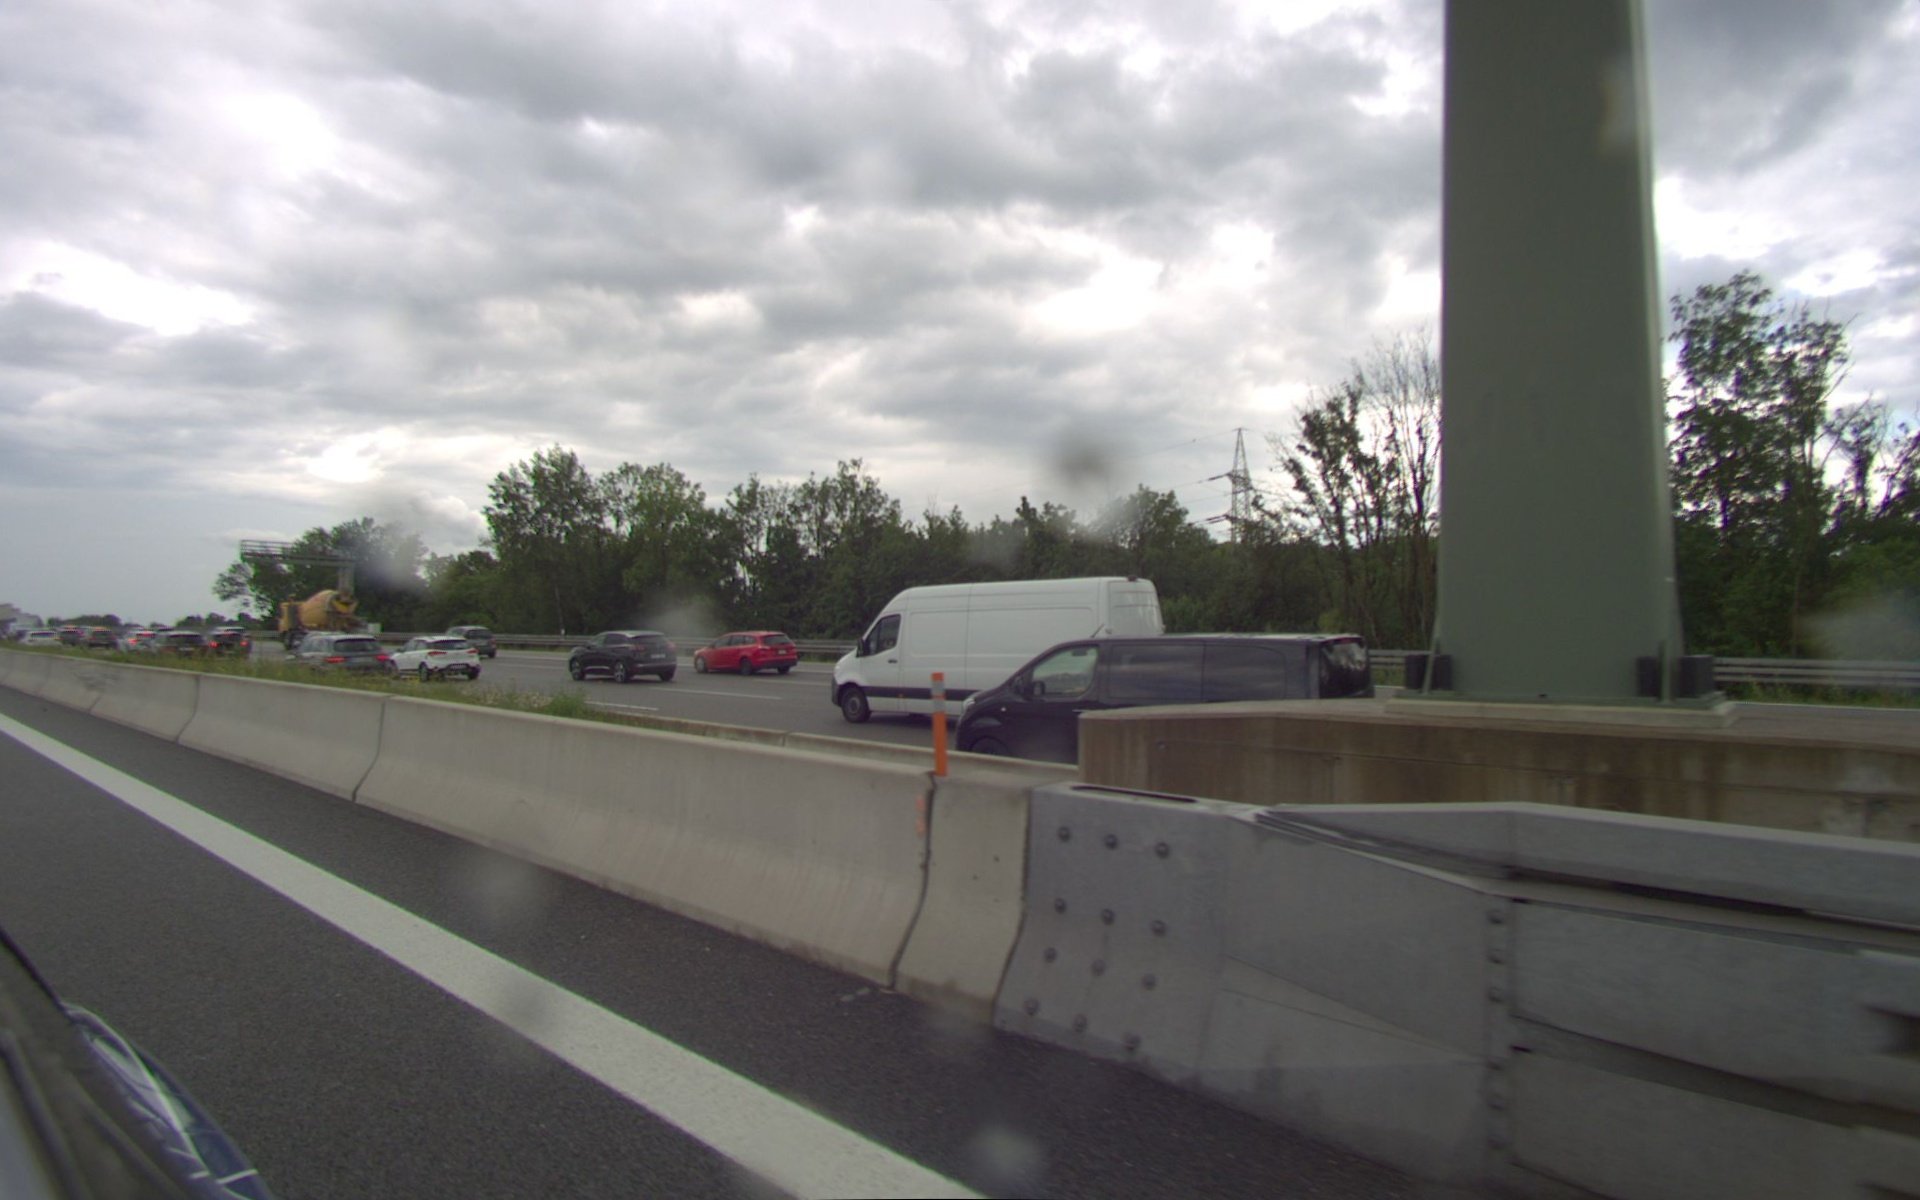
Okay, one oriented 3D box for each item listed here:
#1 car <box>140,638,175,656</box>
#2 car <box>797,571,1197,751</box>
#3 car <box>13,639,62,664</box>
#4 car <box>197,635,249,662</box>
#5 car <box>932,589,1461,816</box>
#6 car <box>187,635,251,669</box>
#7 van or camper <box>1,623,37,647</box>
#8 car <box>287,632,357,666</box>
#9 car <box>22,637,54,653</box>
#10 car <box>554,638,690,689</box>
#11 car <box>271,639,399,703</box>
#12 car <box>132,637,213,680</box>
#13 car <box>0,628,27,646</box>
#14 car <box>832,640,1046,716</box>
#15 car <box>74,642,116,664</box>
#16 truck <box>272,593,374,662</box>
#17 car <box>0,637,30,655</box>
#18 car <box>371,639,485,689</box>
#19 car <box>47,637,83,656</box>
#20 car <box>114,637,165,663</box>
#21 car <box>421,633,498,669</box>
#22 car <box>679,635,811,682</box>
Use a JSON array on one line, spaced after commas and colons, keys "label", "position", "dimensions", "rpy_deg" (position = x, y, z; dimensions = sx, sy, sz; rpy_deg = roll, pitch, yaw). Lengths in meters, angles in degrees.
[{"label": "car", "position": [-73.272, 4.280, 92.398], "dimensions": [4.517, 1.439, 1.705], "rpy_deg": [-1, 0, 41]}, {"label": "car", "position": [0.317, 1.004, 18.399], "dimensions": [7.732, 2.673, 2.027], "rpy_deg": [-1, -2, 41]}, {"label": "car", "position": [-57.814, 3.193, 63.407], "dimensions": [4.645, 1.439, 1.706], "rpy_deg": [-1, 0, 40]}, {"label": "car", "position": [-47.292, 3.064, 64.920], "dimensions": [4.517, 1.615, 1.705], "rpy_deg": [-1, 0, 41]}, {"label": "car", "position": [2.280, 0.934, 11.041], "dimensions": [5.421, 1.919, 1.799], "rpy_deg": [-1, -2, 41]}, {"label": "car", "position": [-38.506, 2.685, 52.541], "dimensions": [4.642, 1.615, 1.705], "rpy_deg": [-1, 0, 41]}, {"label": "van or camper", "position": [-129.859, 4.769, 139.642], "dimensions": [8.469, 3.146, 2.599], "rpy_deg": [-1, 0, 40]}, {"label": "car", "position": [-32.942, 2.467, 52.172], "dimensions": [4.911, 1.615, 1.705], "rpy_deg": [-1, 0, 41]}, {"label": "car", "position": [-85.202, 4.111, 93.467], "dimensions": [4.199, 1.429, 1.705], "rpy_deg": [-1, -3, 41]}, {"label": "car", "position": [-10.949, 1.984, 32.601], "dimensions": [4.911, 1.506, 1.962], "rpy_deg": [-1, -2, 41]}, {"label": "car", "position": [-18.153, 1.985, 29.294], "dimensions": [4.909, 1.615, 1.706], "rpy_deg": [-1, 0, 40]}, {"label": "car", "position": [-32.466, 2.357, 41.678], "dimensions": [4.911, 1.615, 1.705], "rpy_deg": [-1, 0, 41]}, {"label": "car", "position": [-111.035, 4.331, 118.653], "dimensions": [5.542, 1.951, 1.671], "rpy_deg": [-1, 0, 39]}, {"label": "car", "position": [-0.582, 1.714, 23.369], "dimensions": [4.911, 1.506, 1.962], "rpy_deg": [-1, -2, 41]}, {"label": "car", "position": [-63.497, 3.867, 74.231], "dimensions": [4.517, 1.439, 1.705], "rpy_deg": [-1, 0, 41]}, {"label": "truck", "position": [-40.617, 1.755, 64.372], "dimensions": [9.577, 4.045, 2.885], "rpy_deg": [-2, -2, 41]}, {"label": "car", "position": [-93.793, 4.501, 100.414], "dimensions": [4.517, 1.658, 1.705], "rpy_deg": [-1, 0, 41]}, {"label": "car", "position": [-18.236, 2.132, 34.590], "dimensions": [4.909, 1.505, 1.706], "rpy_deg": [-1, 0, 40]}, {"label": "car", "position": [-74.789, 3.895, 84.527], "dimensions": [4.517, 1.439, 1.705], "rpy_deg": [-1, 0, 41]}, {"label": "car", "position": [-52.385, 3.179, 64.584], "dimensions": [4.846, 1.481, 1.705], "rpy_deg": [-1, 0, 41]}, {"label": "car", "position": [-25.124, 2.518, 50.729], "dimensions": [4.911, 1.615, 1.705], "rpy_deg": [-1, 0, 41]}, {"label": "car", "position": [-7.572, 1.972, 35.320], "dimensions": [4.911, 1.506, 1.962], "rpy_deg": [-1, -2, 41]}]
